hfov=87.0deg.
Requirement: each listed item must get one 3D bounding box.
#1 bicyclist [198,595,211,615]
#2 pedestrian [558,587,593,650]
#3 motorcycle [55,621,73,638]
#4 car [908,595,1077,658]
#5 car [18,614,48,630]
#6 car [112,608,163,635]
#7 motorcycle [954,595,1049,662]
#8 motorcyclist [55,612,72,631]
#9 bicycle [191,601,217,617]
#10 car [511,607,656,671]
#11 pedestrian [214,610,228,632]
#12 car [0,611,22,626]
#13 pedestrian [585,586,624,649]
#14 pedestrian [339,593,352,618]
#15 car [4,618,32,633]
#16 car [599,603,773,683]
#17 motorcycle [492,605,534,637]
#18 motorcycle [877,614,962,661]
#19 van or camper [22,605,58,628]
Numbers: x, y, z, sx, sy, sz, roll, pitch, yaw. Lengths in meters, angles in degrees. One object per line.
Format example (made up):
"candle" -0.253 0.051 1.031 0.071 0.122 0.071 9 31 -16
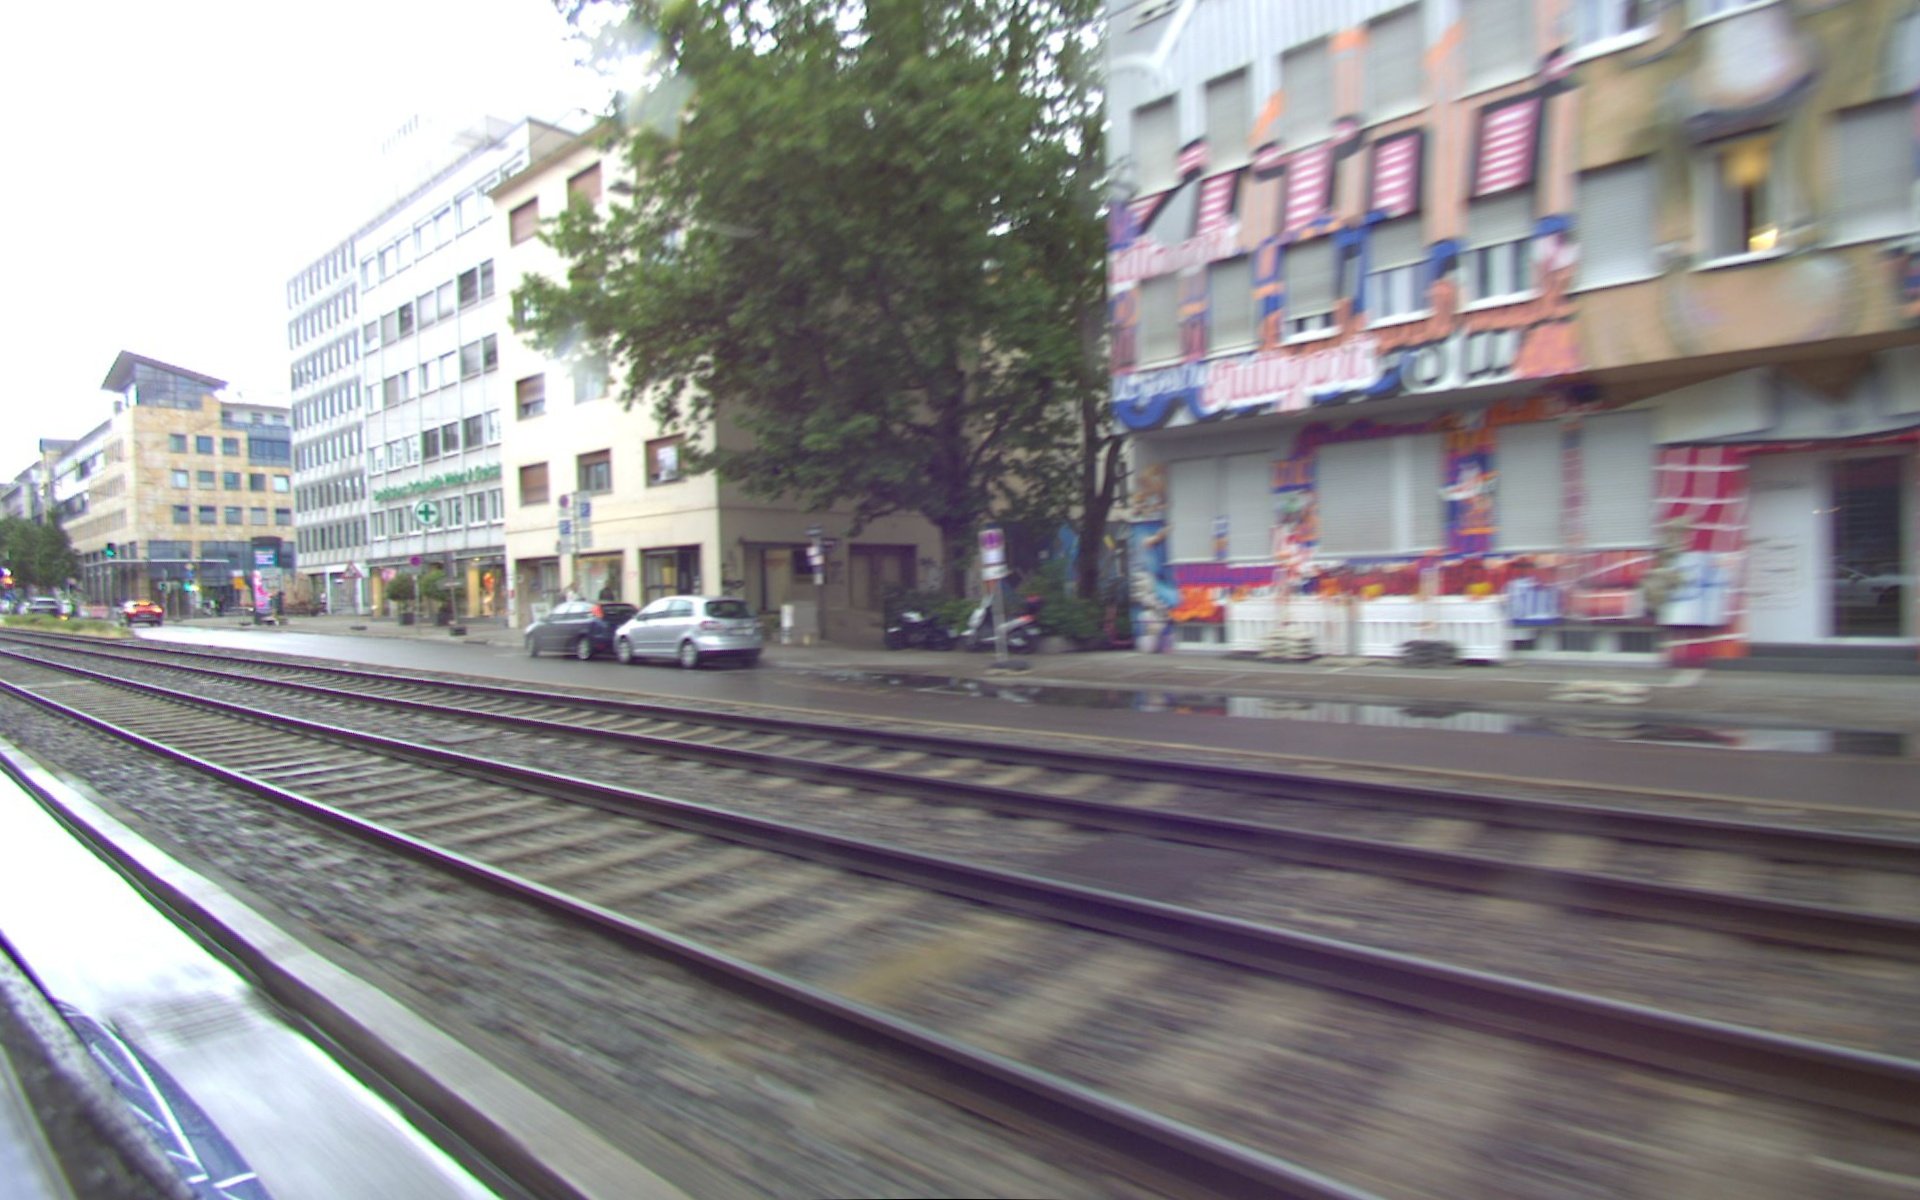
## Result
"bicyclist" -69.734 0.495 93.380 0.783 1.818 0.701 -1 2 41
"pedestrian" -11.875 0.561 31.256 0.742 1.910 0.671 0 1 41
"motorcycle" -59.662 1.973 67.376 1.932 1.067 0.734 0 2 43
"car" 0.787 0.664 26.124 3.997 1.465 1.973 -1 0 41
"car" -94.307 2.201 102.955 4.252 1.497 1.672 -1 1 40
"car" -51.573 1.335 63.453 4.446 1.530 1.971 -1 1 45
"motorcycle" 0.884 0.619 22.242 2.118 1.389 0.632 -1 1 40
"motorcyclist" -59.647 1.434 67.336 0.970 1.226 0.733 0 2 43
"bicycle" -69.620 0.820 93.252 0.659 1.320 1.746 0 3 40
"car" -9.740 0.954 26.022 4.218 1.480 1.725 -1 0 41
"pedestrian" -62.237 1.795 85.214 0.667 1.794 0.705 -2 1 -14
"car" -106.075 2.029 112.923 4.191 1.509 1.632 0 1 42
"pedestrian" -11.230 0.540 31.938 0.982 1.910 0.720 0 1 41
"pedestrian" -46.107 0.445 75.918 0.843 1.836 0.559 -1 1 37
"car" -102.198 2.767 109.794 3.997 1.497 1.672 -1 1 40
"car" -6.223 0.896 22.741 4.218 1.582 1.704 -1 1 41
"motorcycle" -17.707 0.824 40.080 0.386 1.188 1.462 -1 1 40
"motorcycle" -0.983 0.878 24.162 2.118 1.040 0.632 -1 1 40
"van or camper" -88.747 1.564 97.596 5.196 2.012 1.996 1 2 42
